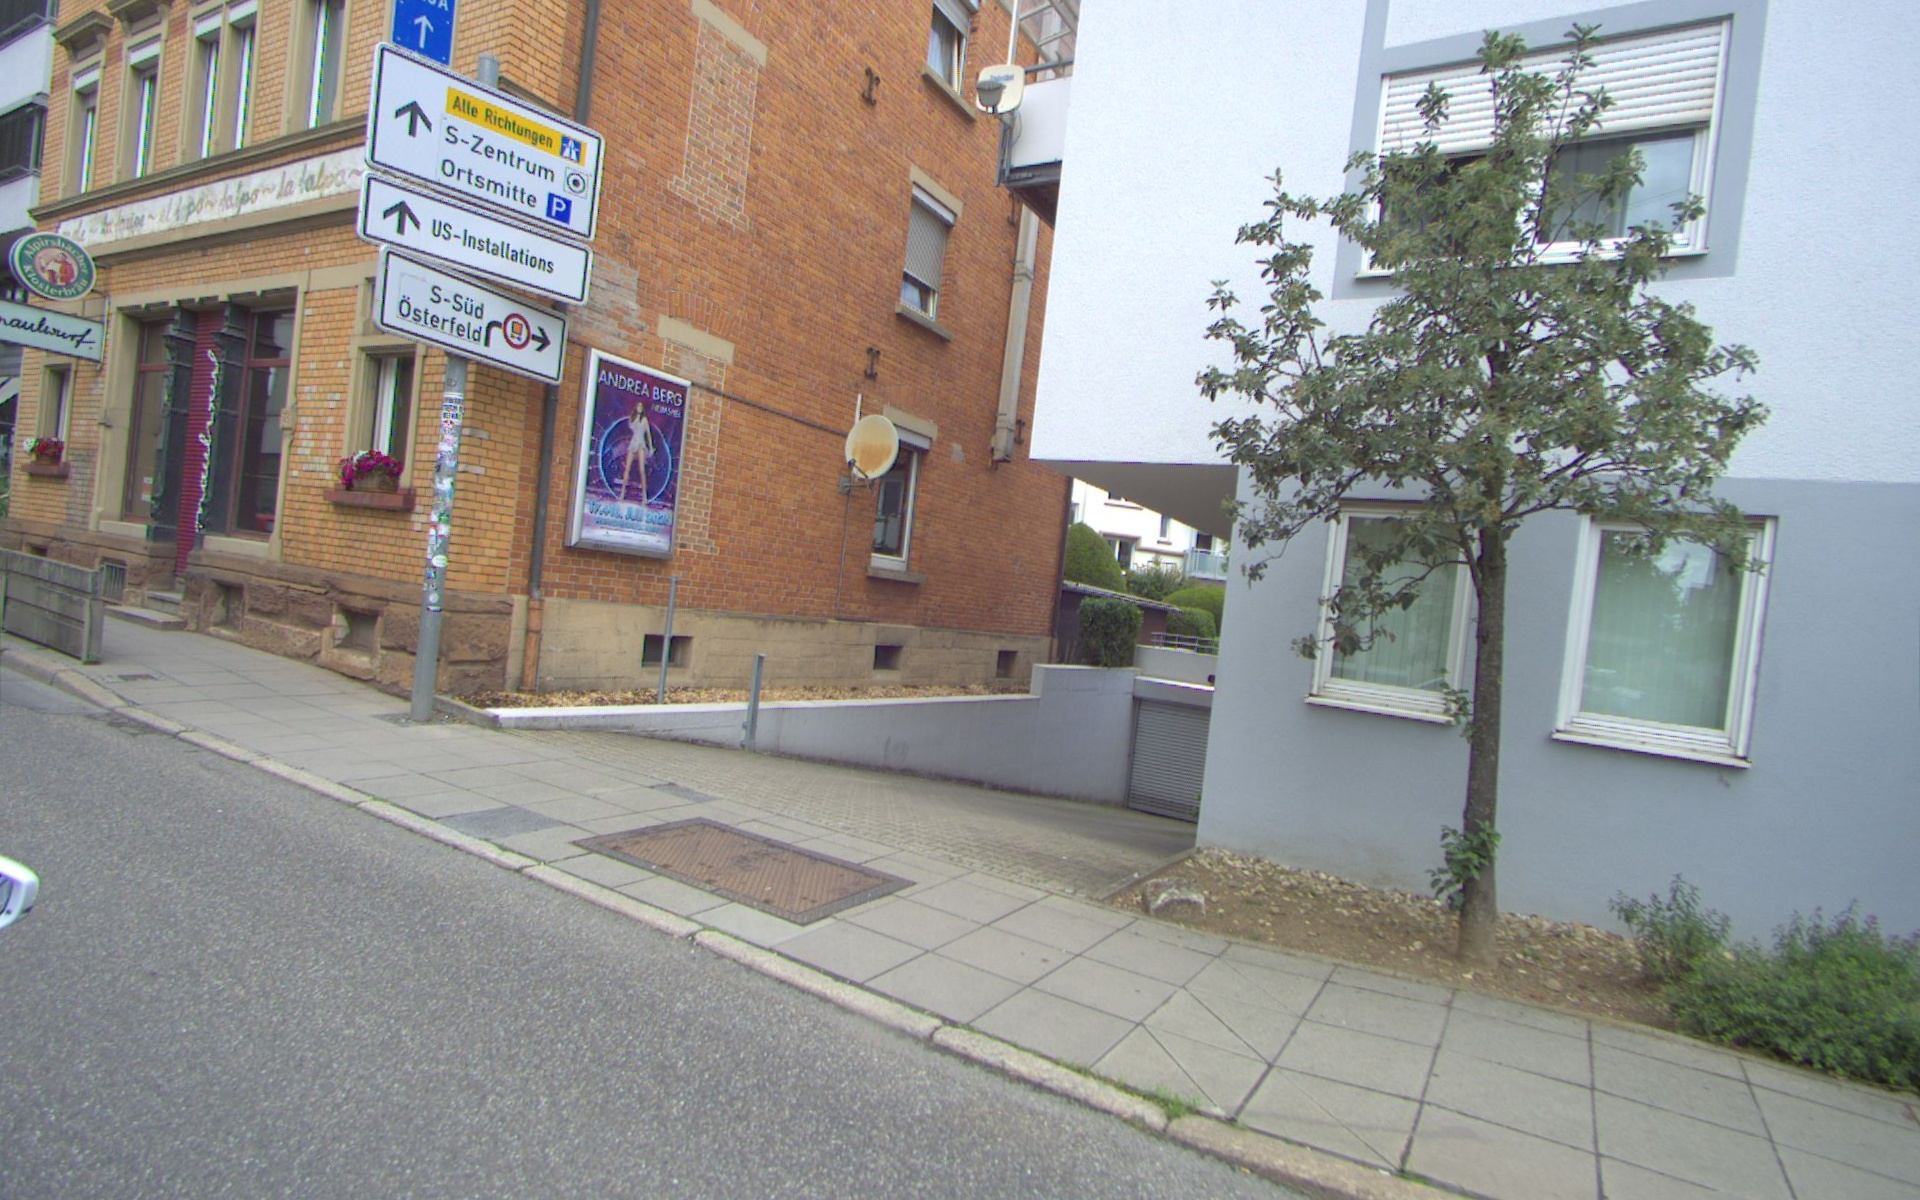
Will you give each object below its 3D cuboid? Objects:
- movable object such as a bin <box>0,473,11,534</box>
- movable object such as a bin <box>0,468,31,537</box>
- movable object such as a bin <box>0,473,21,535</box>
[{"bbox_3d":[-24.782,-2.499,25.543,0.720,1.524,0.820,6,3,32],"label":"movable object such as a bin"},{"bbox_3d":[-23.536,-2.415,24.730,0.720,1.611,0.820,6,3,32],"label":"movable object such as a bin"},{"bbox_3d":[-24.155,-2.419,25.147,0.720,1.510,0.820,6,3,32],"label":"movable object such as a bin"}]
